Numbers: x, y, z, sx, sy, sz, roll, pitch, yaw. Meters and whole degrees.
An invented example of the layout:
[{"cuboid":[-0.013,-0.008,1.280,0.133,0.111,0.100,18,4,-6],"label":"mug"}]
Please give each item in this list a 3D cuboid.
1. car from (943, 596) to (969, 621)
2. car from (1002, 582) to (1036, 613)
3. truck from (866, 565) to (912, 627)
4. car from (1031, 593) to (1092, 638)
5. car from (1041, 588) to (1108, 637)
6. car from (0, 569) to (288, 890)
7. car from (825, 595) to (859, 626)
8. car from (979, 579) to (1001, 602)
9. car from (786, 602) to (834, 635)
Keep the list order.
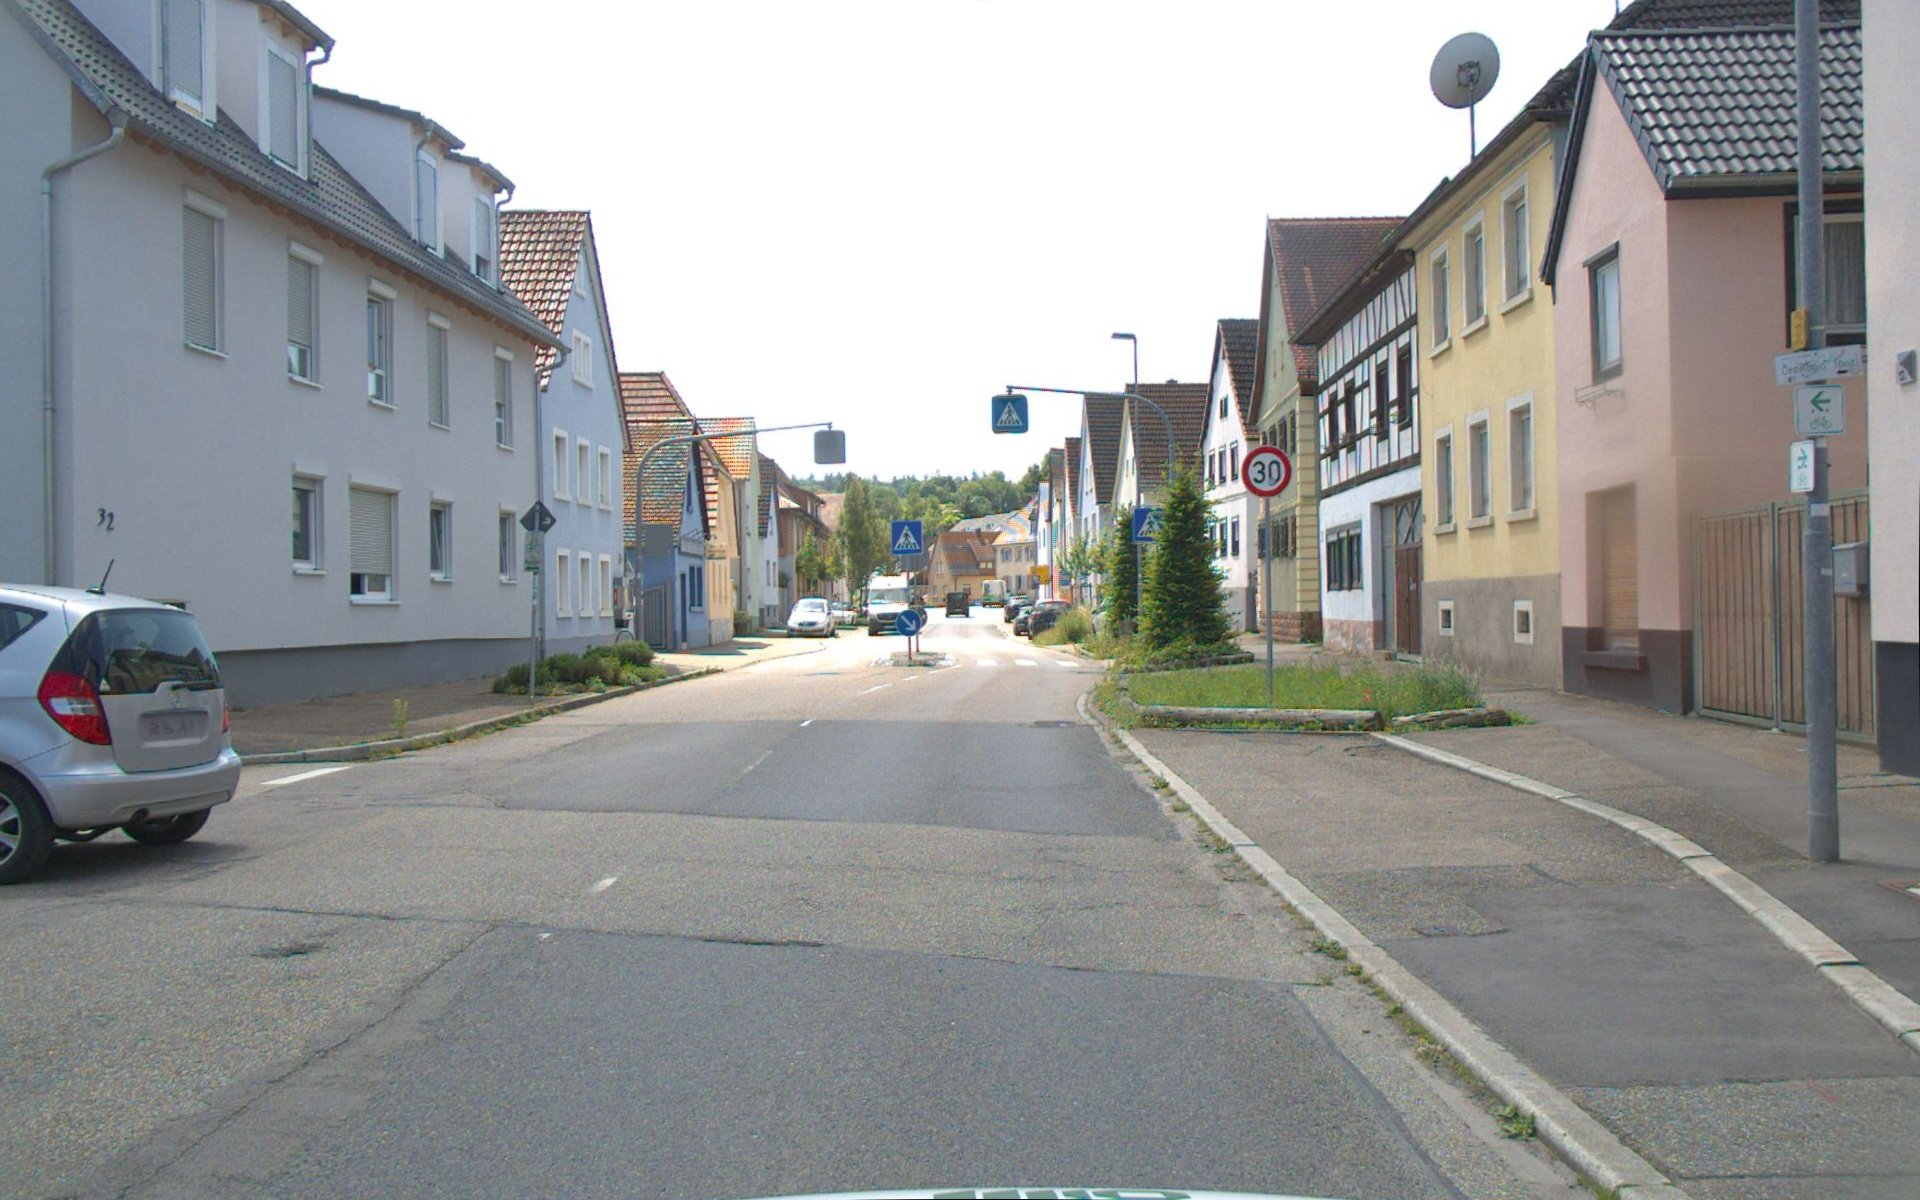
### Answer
[{"cuboid":[-0.297,0.687,130.225,1.953,1.848,3.998,0,-2,-2],"label":"car"},{"cuboid":[3.691,-0.134,104.062,1.953,1.848,3.998,0,-2,-2],"label":"car"},{"cuboid":[-3.181,-0.113,75.231,1.953,2.581,6.736,0,-2,-1],"label":"truck"},{"cuboid":[3.685,0.601,60.443,1.953,1.534,3.999,0,-2,-1],"label":"car"},{"cuboid":[3.843,0.454,55.948,1.953,1.534,3.999,0,-2,-1],"label":"car"},{"cuboid":[-6.178,0.659,9.744,3.638,1.672,1.817,1,-1,5],"label":"car"},{"cuboid":[-6.487,0.607,91.260,1.633,1.624,3.999,0,-2,-1],"label":"car"},{"cuboid":[2.829,-0.875,157.795,1.953,2.049,3.999,0,-2,-1],"label":"car"},{"cuboid":[-6.446,0.829,70.963,1.955,1.344,3.704,0,-2,-6],"label":"car"}]
